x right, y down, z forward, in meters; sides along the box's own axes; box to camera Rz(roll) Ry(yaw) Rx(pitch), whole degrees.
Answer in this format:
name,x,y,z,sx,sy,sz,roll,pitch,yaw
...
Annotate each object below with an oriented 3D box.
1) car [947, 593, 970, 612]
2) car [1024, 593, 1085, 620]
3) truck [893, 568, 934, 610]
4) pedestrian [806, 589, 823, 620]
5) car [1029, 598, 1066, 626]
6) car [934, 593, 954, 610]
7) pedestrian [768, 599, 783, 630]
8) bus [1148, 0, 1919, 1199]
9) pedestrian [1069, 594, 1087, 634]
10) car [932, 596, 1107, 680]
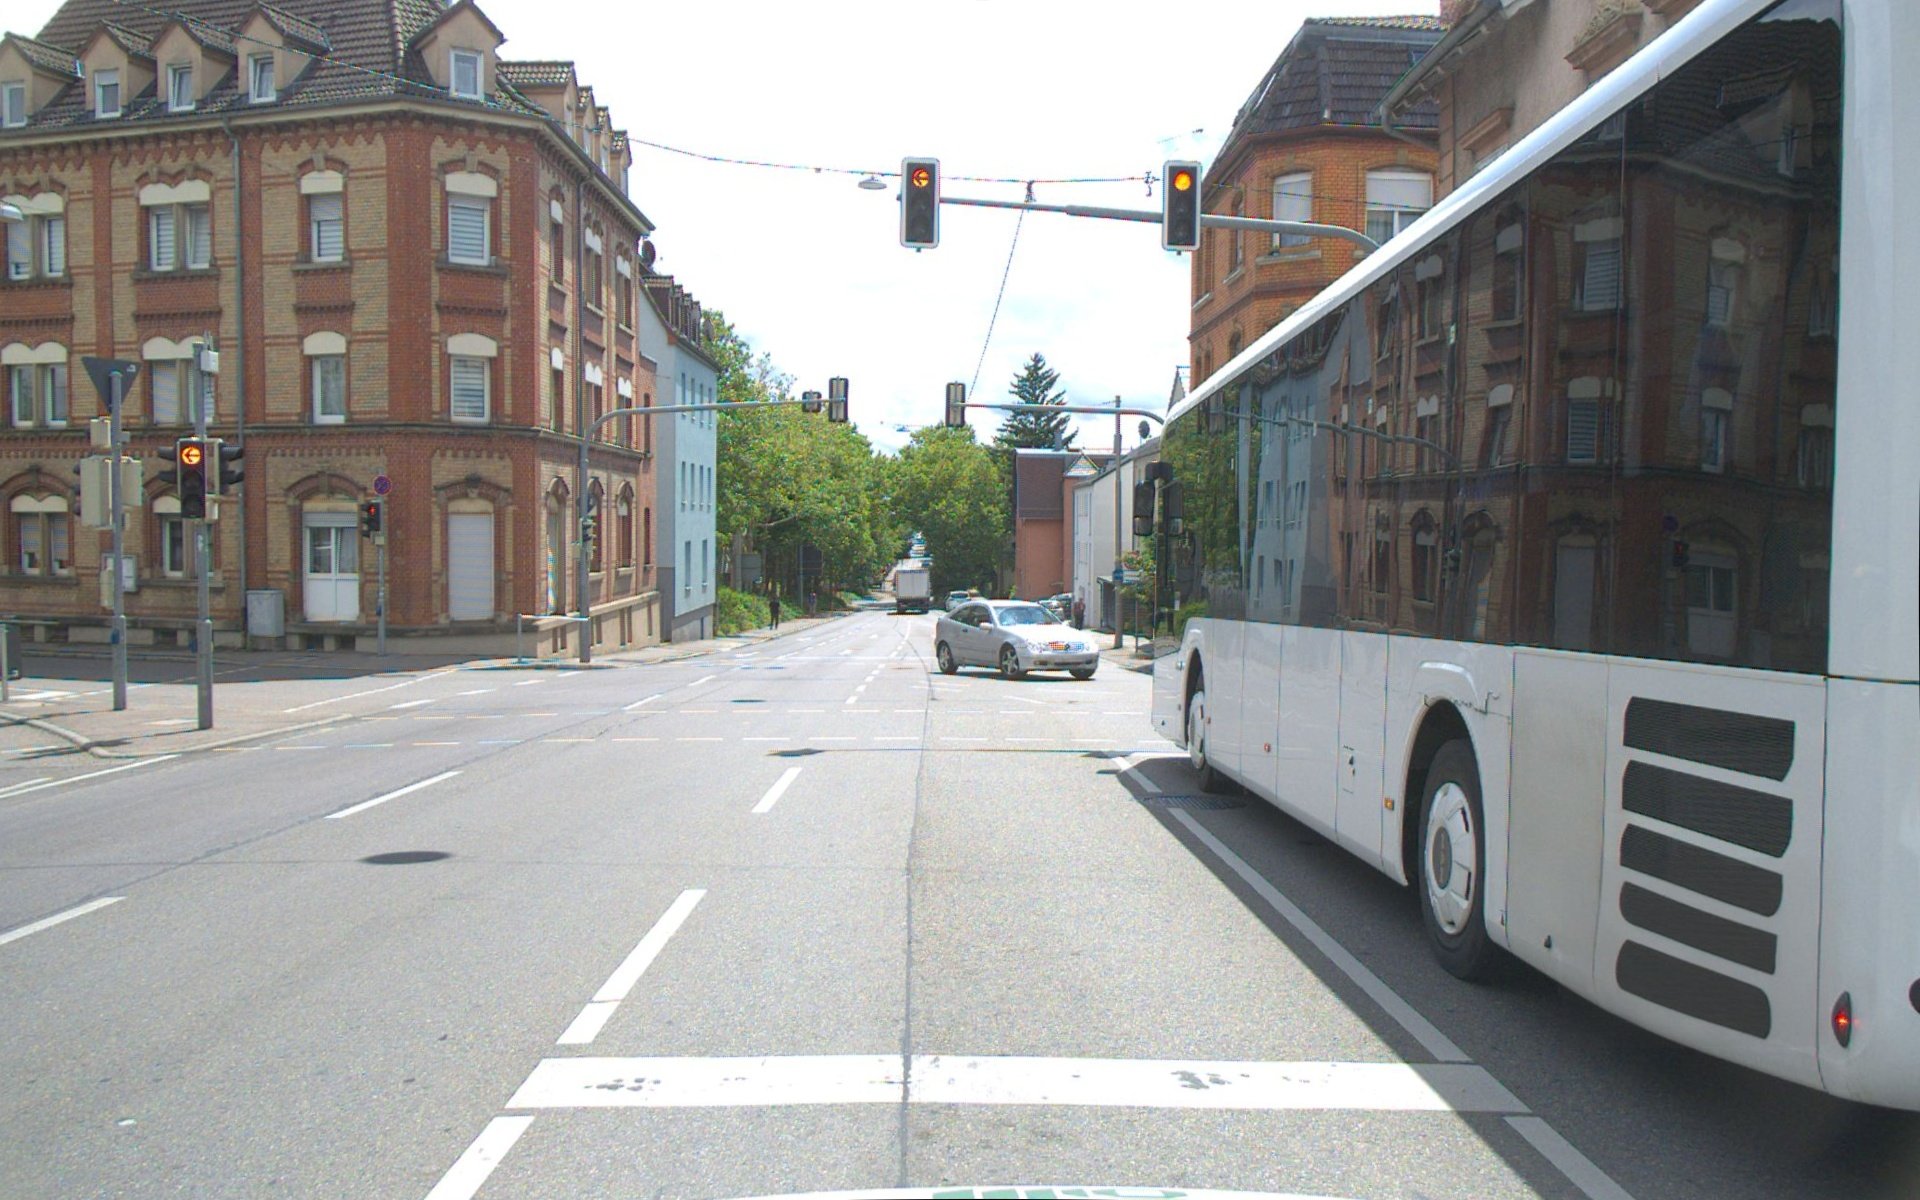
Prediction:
name,x,y,z,sx,sy,sz,roll,pitch,yaw
car,-0.110,0.218,129.656,1.758,1.434,3.999,1,0,-1
car,6.481,0.456,113.534,3.909,1.788,1.998,-1,0,-6
truck,-3.643,-0.848,127.701,2.868,3.135,7.881,-1,0,-3
pedestrian,-9.759,0.283,110.980,0.974,2.049,1.188,0,0,-1
car,4.907,0.660,93.408,1.758,1.434,3.999,-1,1,-2
car,-1.409,0.135,146.075,1.757,1.434,4.418,1,0,0
pedestrian,-9.295,0.725,83.501,0.714,1.592,0.560,0,0,-2
bus,3.202,-0.095,9.564,2.618,3.211,12.460,1,0,-1
pedestrian,5.329,0.629,74.541,0.723,1.781,0.619,-1,0,-1
car,1.051,0.655,31.144,1.677,1.452,3.968,-1,0,-25
